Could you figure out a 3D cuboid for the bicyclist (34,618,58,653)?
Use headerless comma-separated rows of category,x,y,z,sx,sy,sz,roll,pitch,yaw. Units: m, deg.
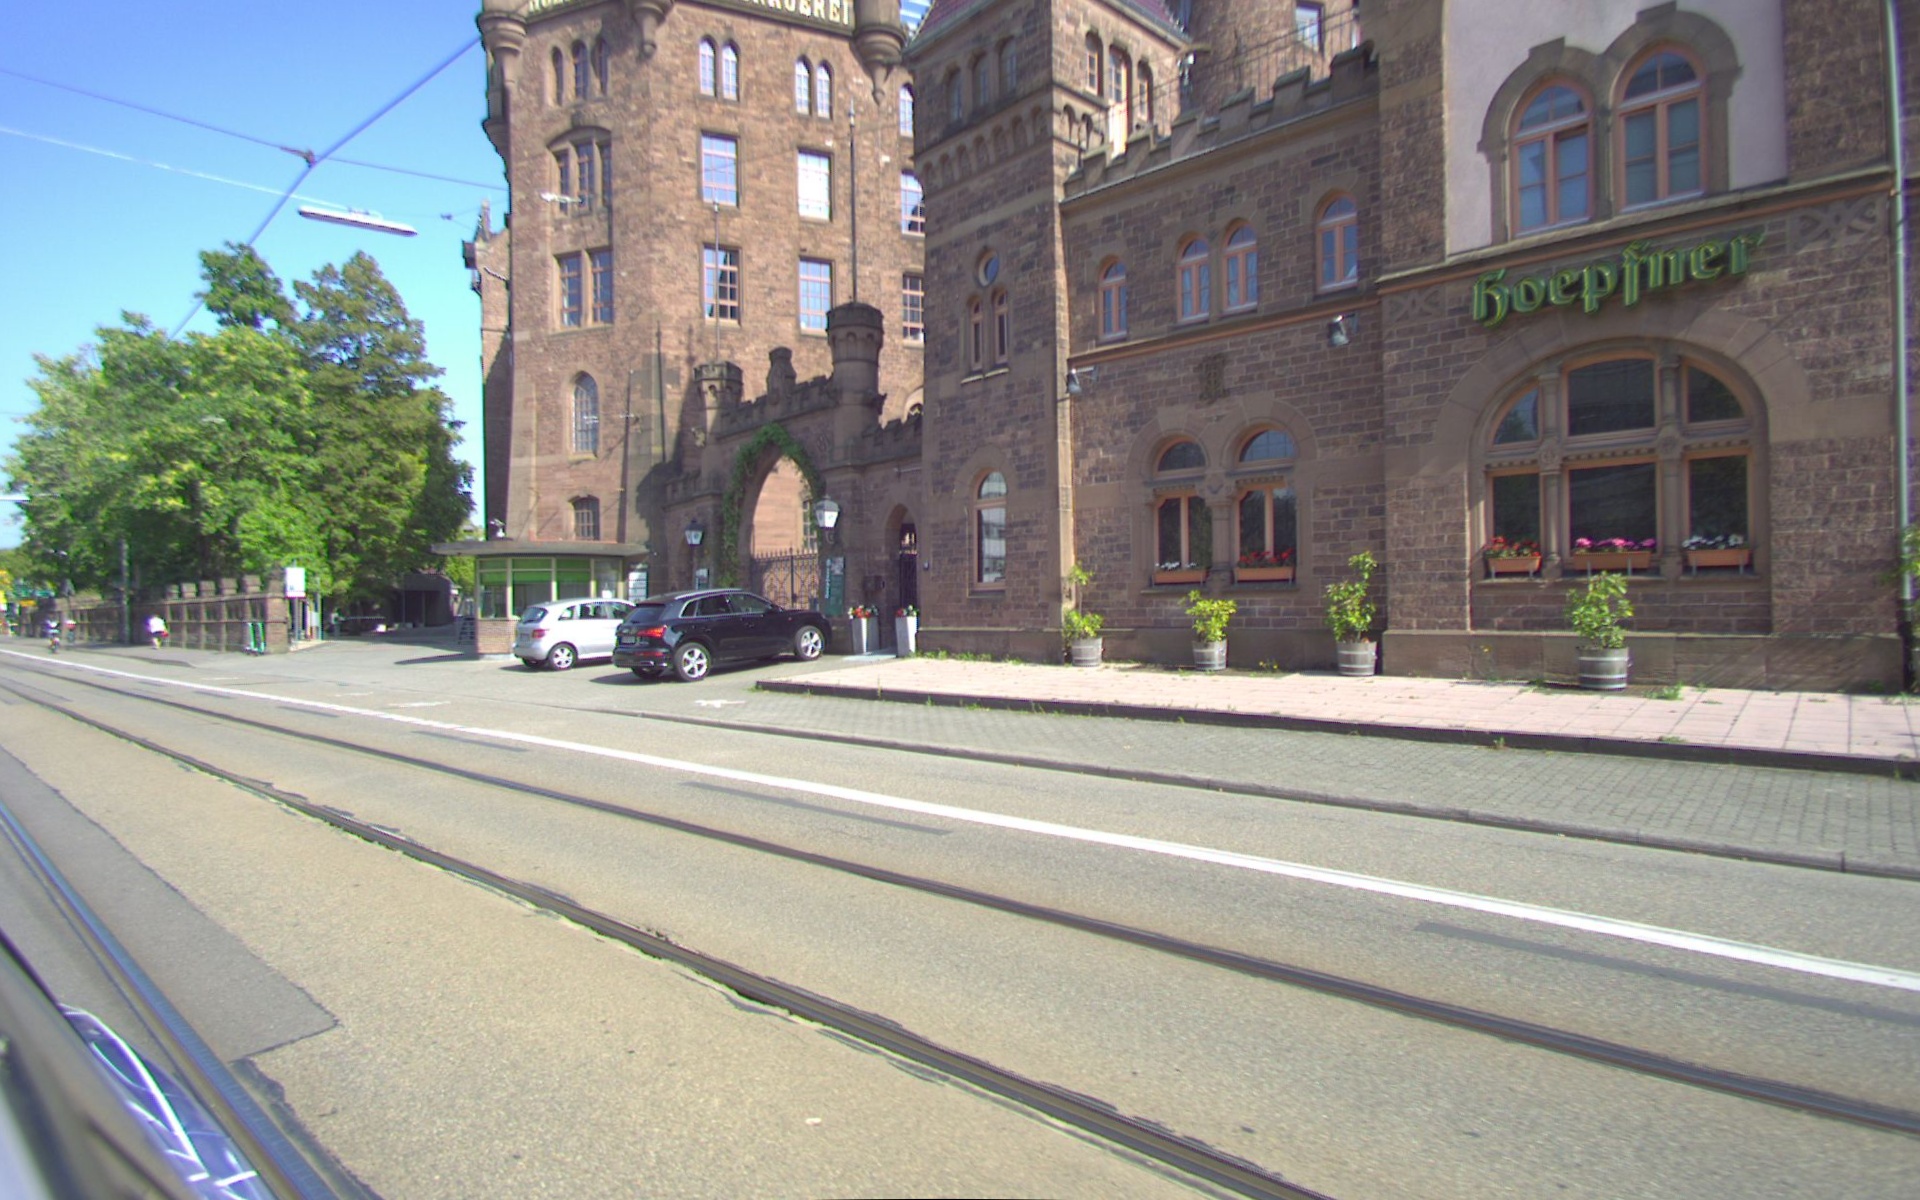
bicyclist,-42.533,1.651,47.105,1.086,1.592,0.690,-1,-1,40

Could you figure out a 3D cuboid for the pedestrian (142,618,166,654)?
pedestrian,-36.439,1.607,45.751,0.775,1.601,0.708,-1,-1,41

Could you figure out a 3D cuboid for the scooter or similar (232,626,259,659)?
scooter or similar,-25.912,1.539,36.710,0.280,1.157,0.816,-1,2,5

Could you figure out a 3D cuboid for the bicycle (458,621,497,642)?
bicycle,-25.120,1.651,52.700,1.748,1.054,0.666,-1,0,-12

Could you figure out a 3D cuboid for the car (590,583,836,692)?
car,-4.835,0.662,20.277,1.957,1.657,4.350,-2,4,43

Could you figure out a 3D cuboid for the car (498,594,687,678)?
car,-8.919,0.821,24.767,1.823,1.607,3.857,-2,3,44

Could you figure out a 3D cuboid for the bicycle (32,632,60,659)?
bicycle,-42.538,2.112,47.090,2.036,1.167,0.690,0,-1,40

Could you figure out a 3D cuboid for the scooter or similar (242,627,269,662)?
scooter or similar,-24.989,1.565,35.889,0.280,1.157,0.816,-1,2,5
